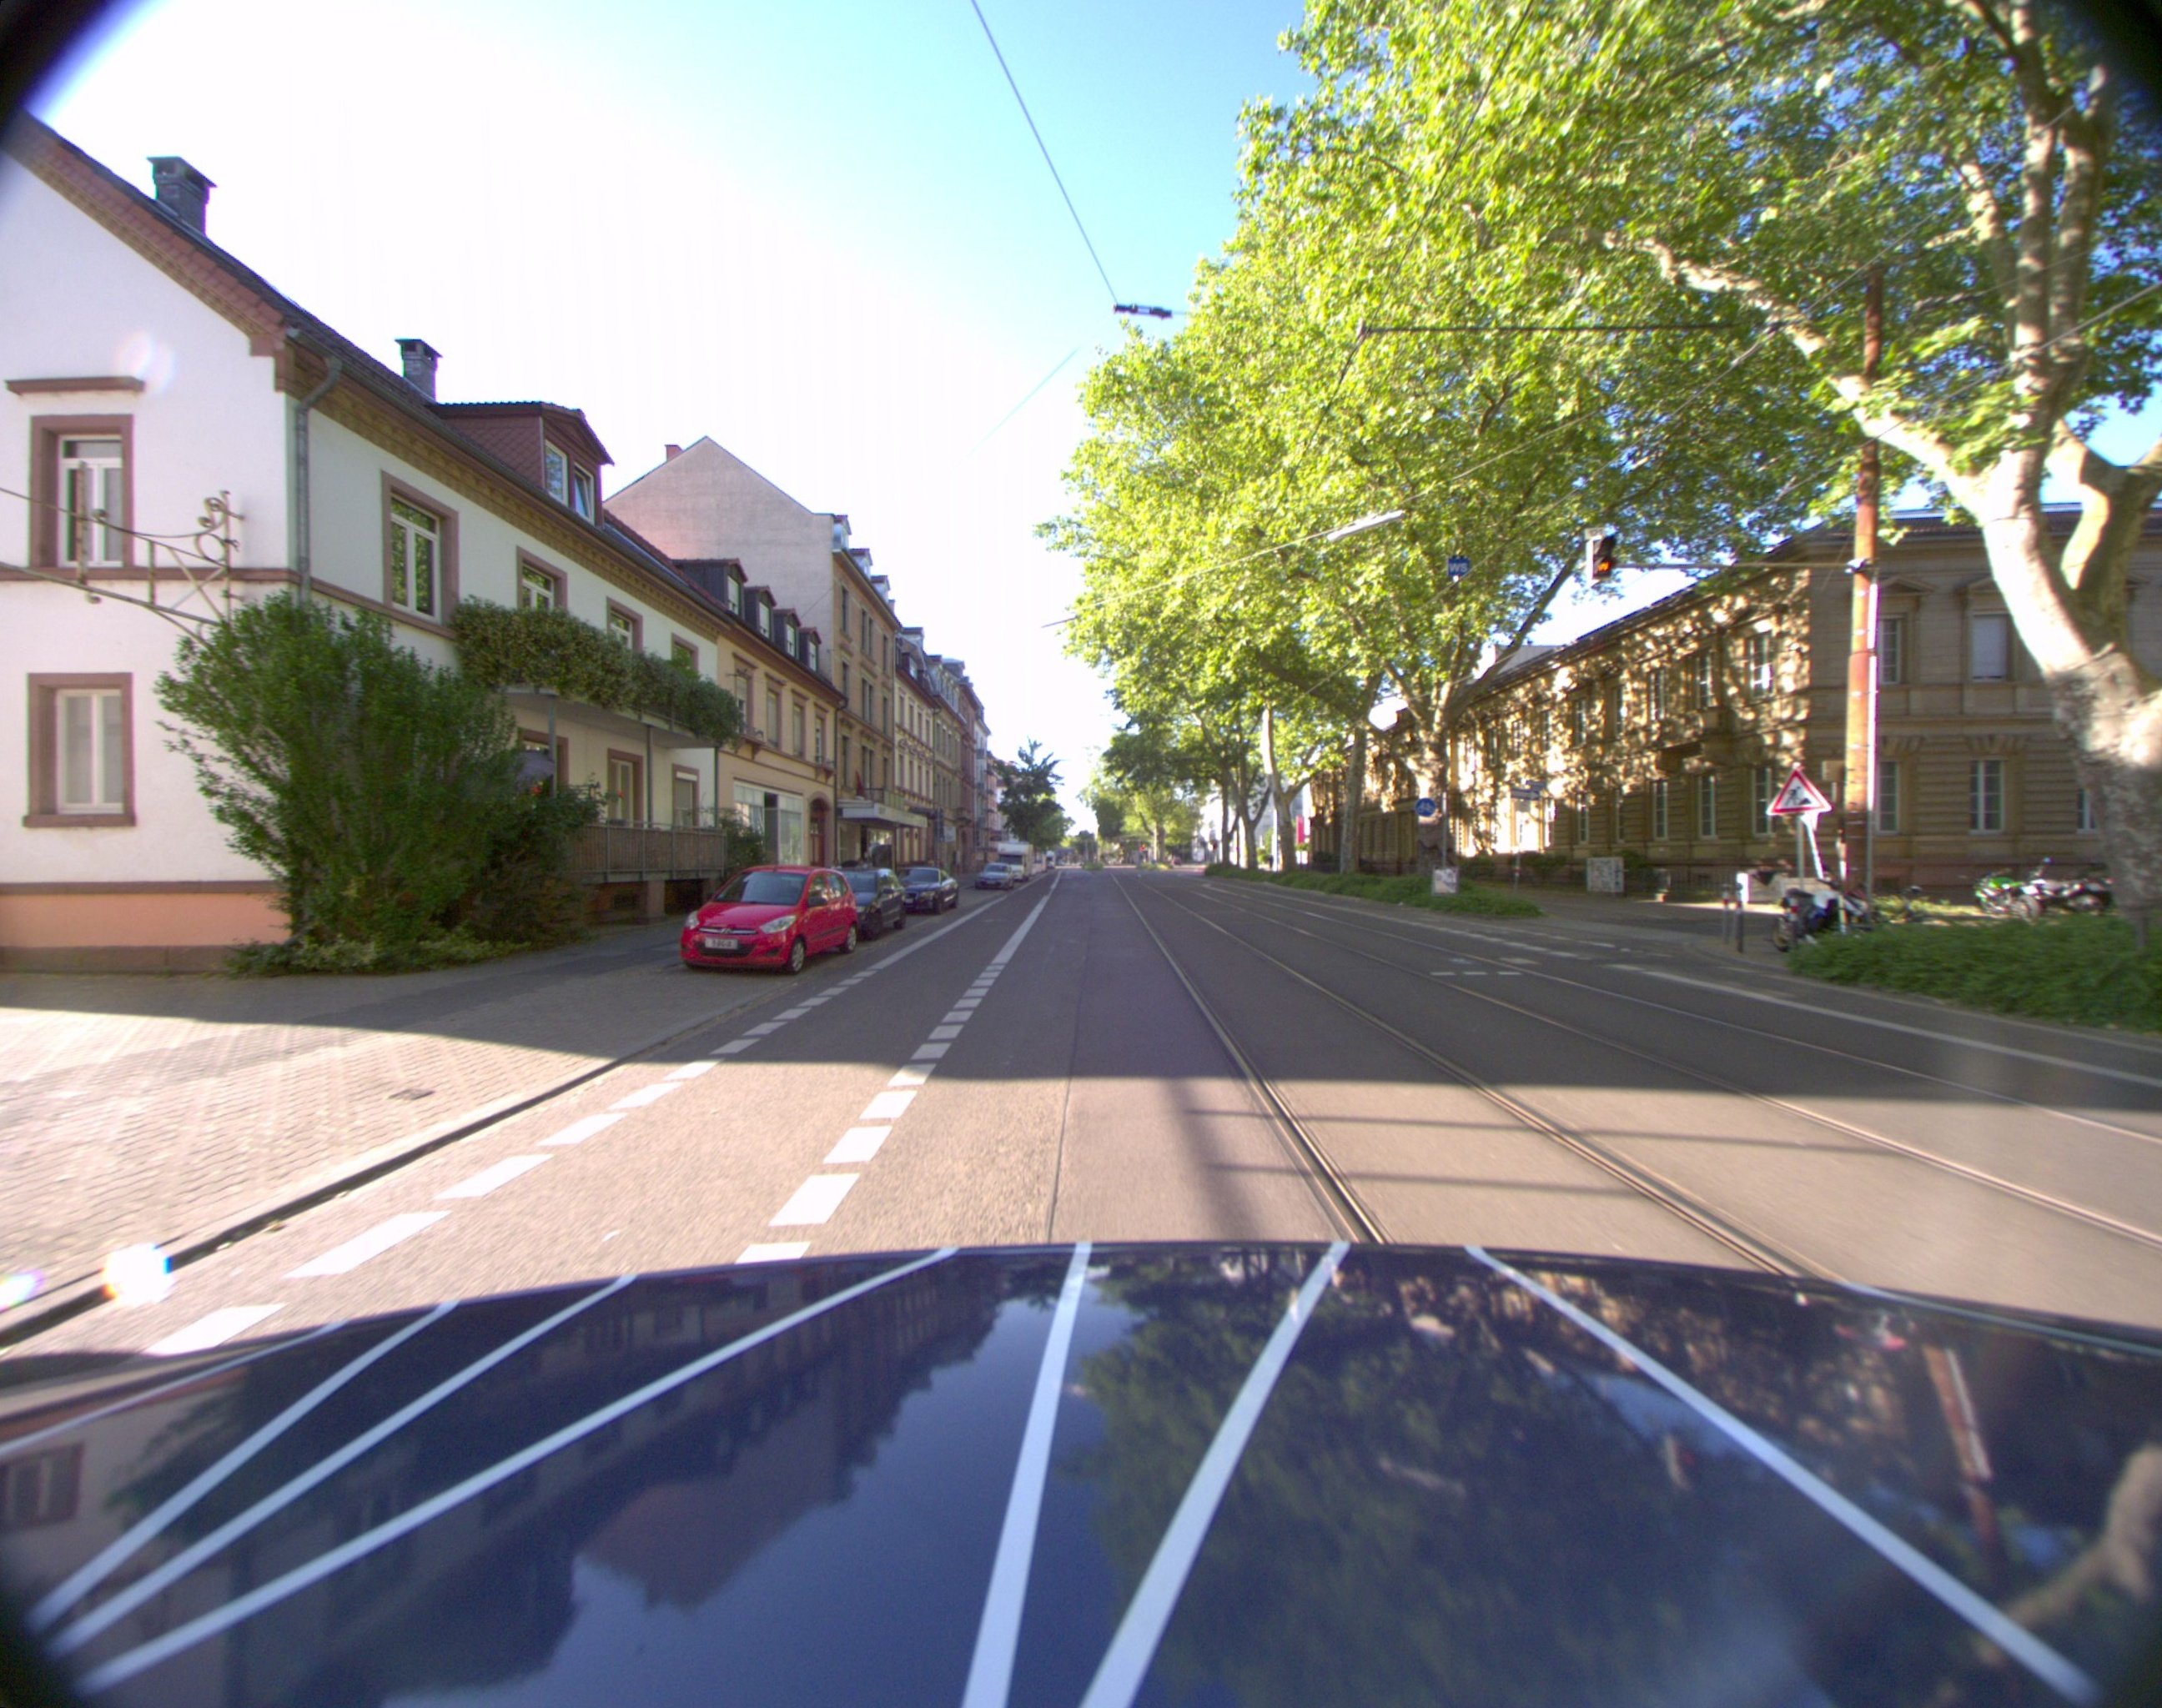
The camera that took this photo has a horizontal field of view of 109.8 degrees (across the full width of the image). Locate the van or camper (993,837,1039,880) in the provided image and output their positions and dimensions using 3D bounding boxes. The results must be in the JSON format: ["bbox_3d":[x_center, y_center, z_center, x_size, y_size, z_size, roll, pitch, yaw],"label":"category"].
[{"bbox_3d":[-4.802,0.296,57.318,2.483,2.955,7.884,3,0,2],"label":"van or camper"}]

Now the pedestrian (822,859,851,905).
[{"bbox_3d":[-8.117,0.918,25.242,0.659,1.474,0.785,-1,1,-1],"label":"pedestrian"}]

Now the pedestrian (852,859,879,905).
[{"bbox_3d":[-7.170,0.908,25.310,0.662,1.496,0.866,0,1,-1],"label":"pedestrian"}]

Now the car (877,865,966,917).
[{"bbox_3d":[-4.824,1.066,23.652,1.698,1.384,4.495,0,0,2],"label":"car"}]

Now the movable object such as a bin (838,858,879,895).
[{"bbox_3d":[-9.424,0.936,32.252,1.296,1.511,1.286,-1,0,0],"label":"movable object such as a bin"}]

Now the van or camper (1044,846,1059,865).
[{"bbox_3d":[-5.084,0.290,131.339,2.173,3.074,7.290,0,0,0],"label":"van or camper"}]

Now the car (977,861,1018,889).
[{"bbox_3d":[-4.658,1.117,42.891,1.814,1.426,4.664,0,0,0],"label":"car"}]

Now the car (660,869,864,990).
[{"bbox_3d":[-4.792,1.050,11.986,1.638,1.537,3.576,0,0,2],"label":"car"}]

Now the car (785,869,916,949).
[{"bbox_3d":[-4.857,1.092,16.543,1.655,1.448,3.868,0,0,0],"label":"car"}]
